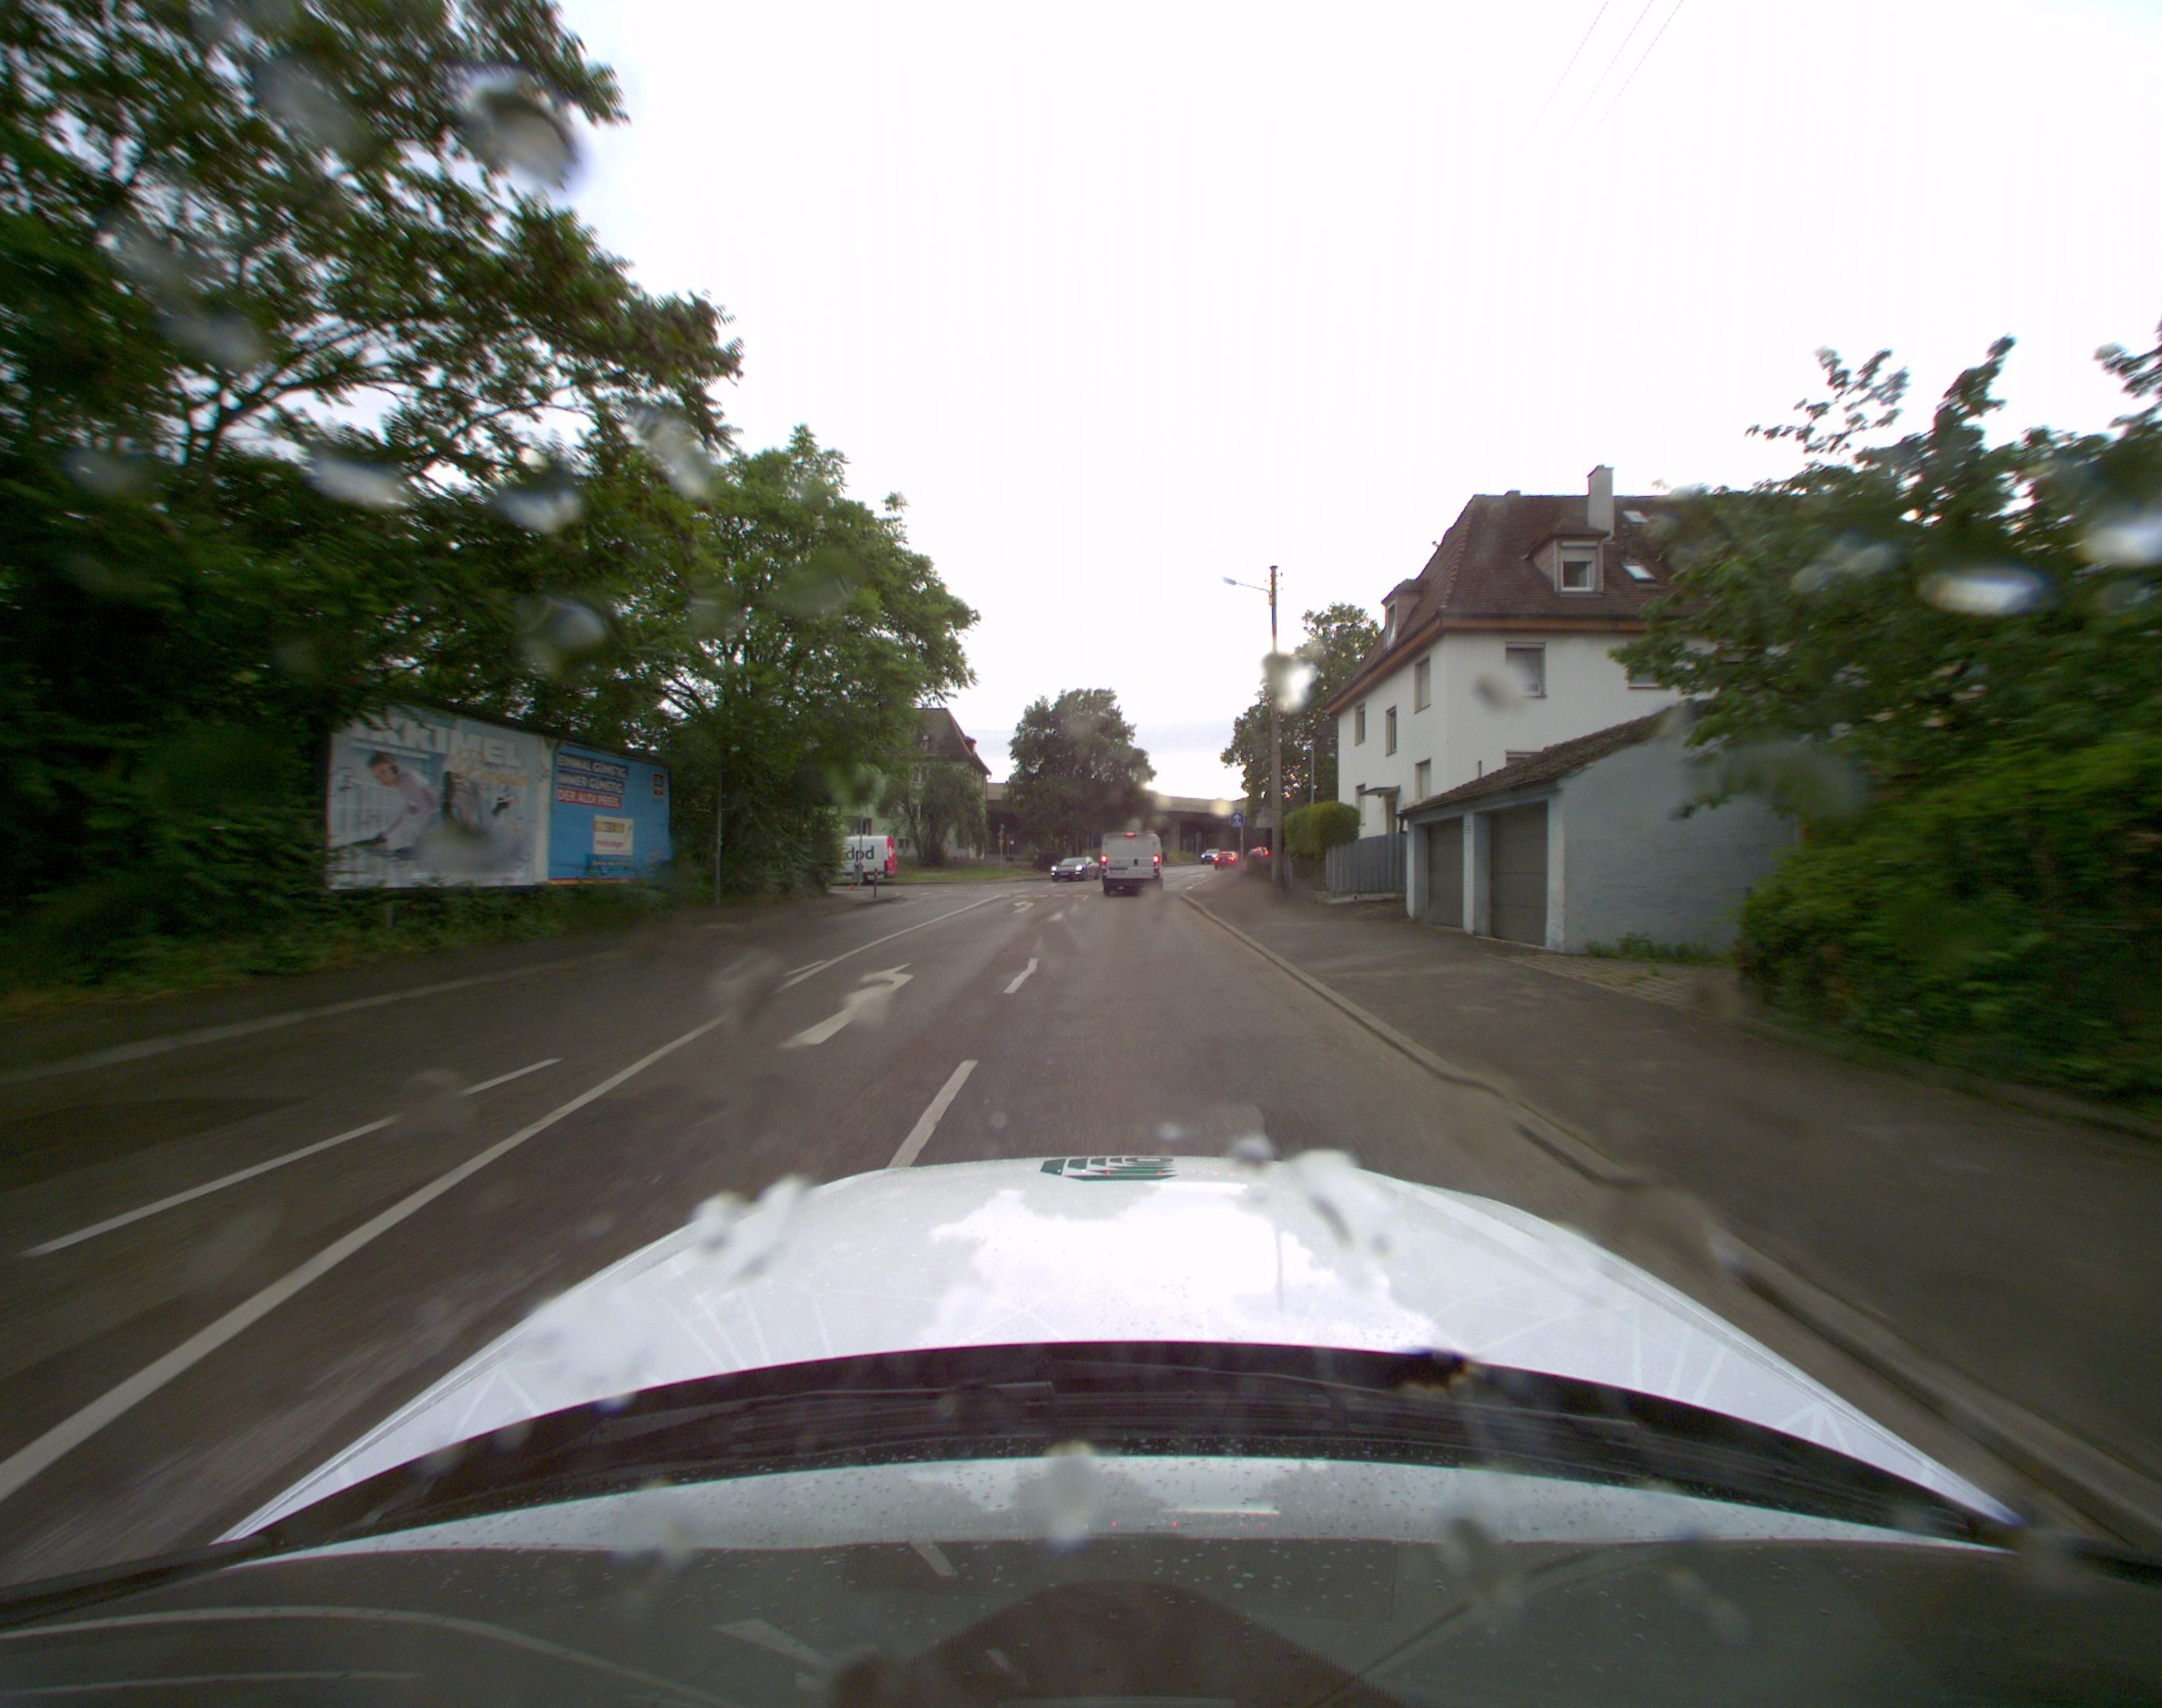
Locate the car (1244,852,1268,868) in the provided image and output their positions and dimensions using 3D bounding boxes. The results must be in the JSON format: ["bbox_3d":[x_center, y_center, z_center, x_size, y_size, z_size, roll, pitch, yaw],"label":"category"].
[{"bbox_3d":[17.234,0.561,80.171,1.750,1.511,3.775,0,0,21],"label":"car"}]

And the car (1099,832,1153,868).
[{"bbox_3d":[3.990,-0.341,70.789,2.512,3.018,7.248,0,0,21],"label":"car"}]

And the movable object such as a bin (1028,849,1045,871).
[{"bbox_3d":[-3.286,0.421,60.675,0.935,1.564,1.132,5,1,6],"label":"movable object such as a bin"}]

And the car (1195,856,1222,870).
[{"bbox_3d":[13.215,0.950,84.220,1.977,1.456,4.852,-1,-1,19],"label":"car"}]

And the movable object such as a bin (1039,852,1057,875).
[{"bbox_3d":[-2.386,0.654,59.106,0.935,1.564,1.132,5,1,6],"label":"movable object such as a bin"}]

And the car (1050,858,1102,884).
[{"bbox_3d":[-0.227,0.989,47.922,1.980,1.456,4.845,-1,-1,12],"label":"car"}]

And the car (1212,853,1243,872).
[{"bbox_3d":[11.951,0.683,66.312,1.750,1.511,3.775,0,0,21],"label":"car"}]

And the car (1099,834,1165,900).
[{"bbox_3d":[2.037,0.430,30.814,2.134,2.283,5.073,0,0,8],"label":"car"}]

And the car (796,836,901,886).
[{"bbox_3d":[-12.602,0.374,44.301,5.028,2.628,2.154,-1,0,1],"label":"car"}]
